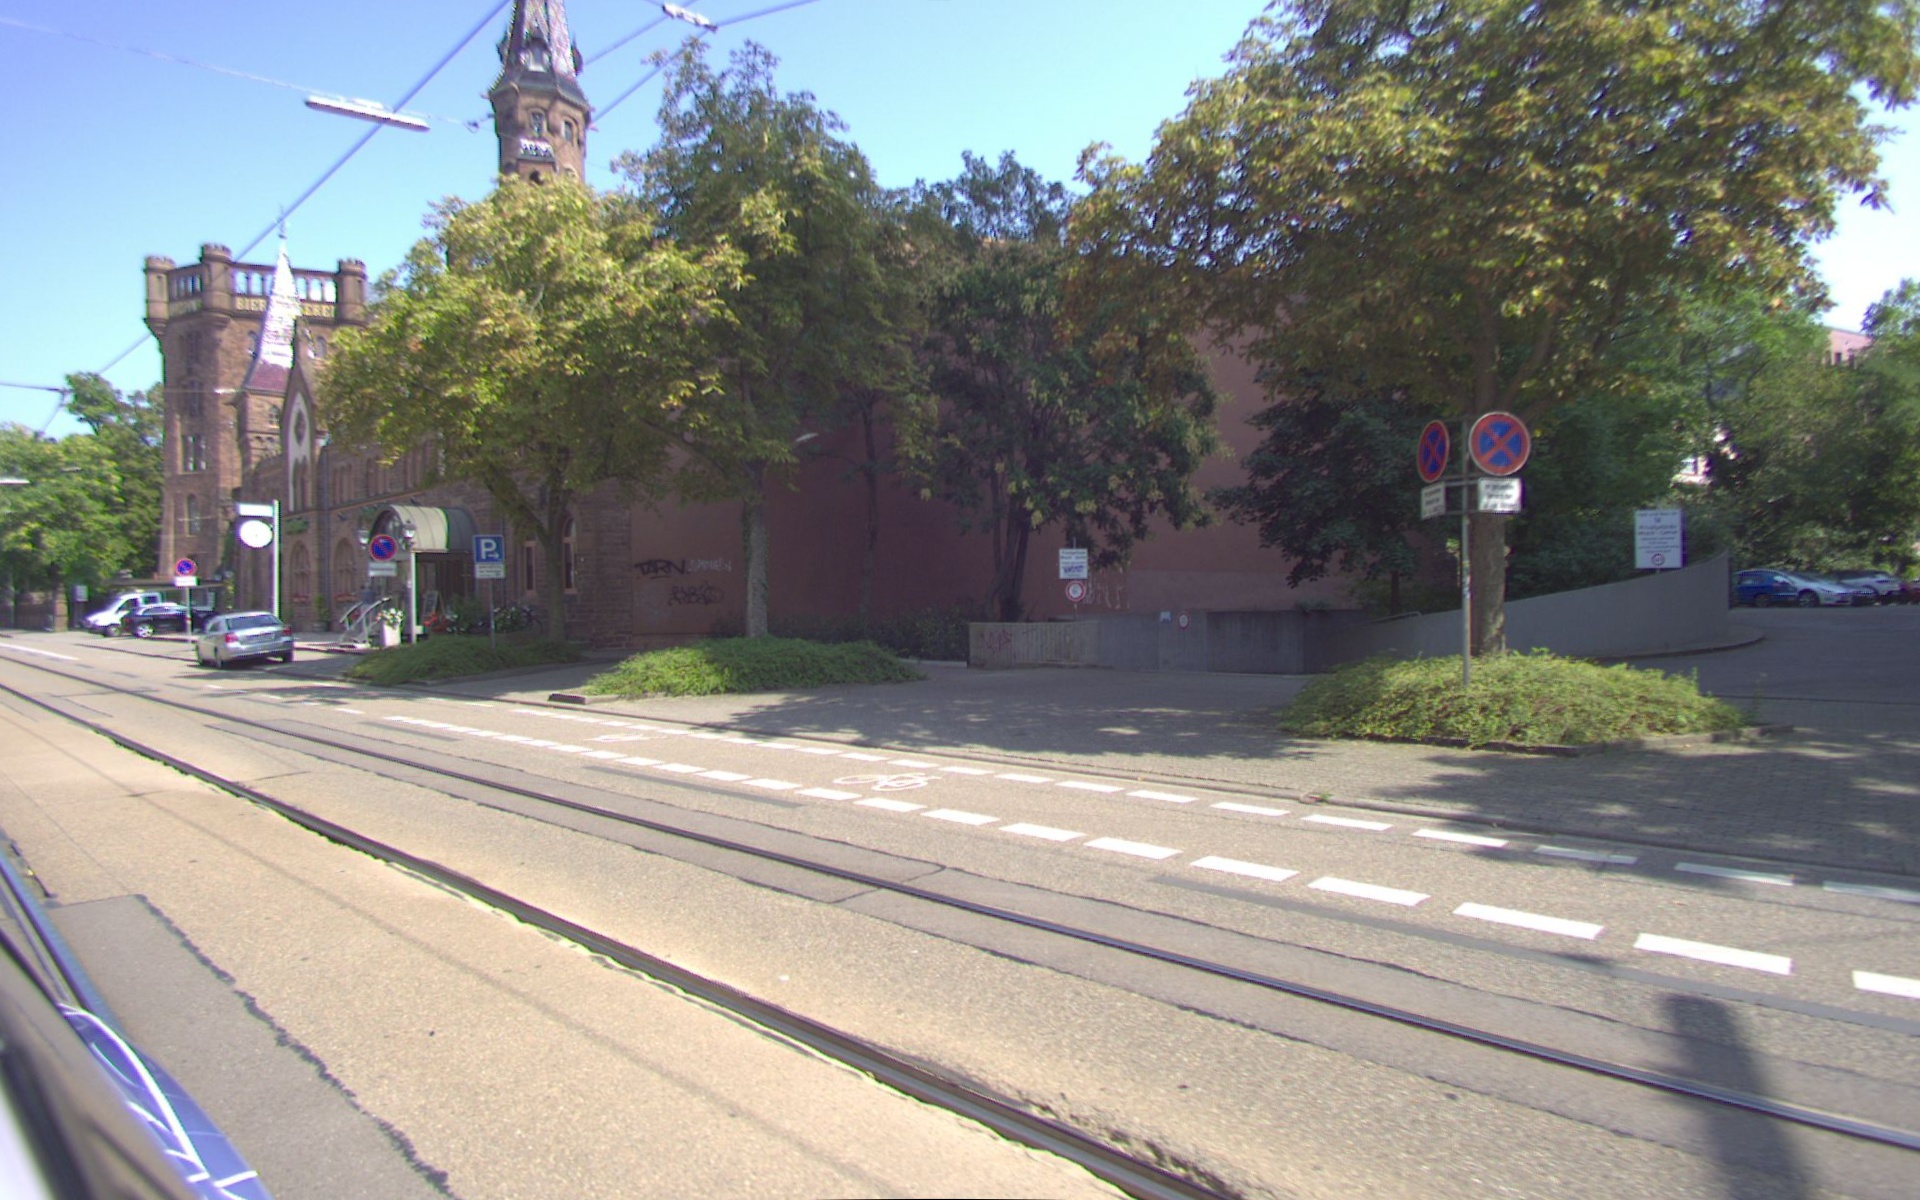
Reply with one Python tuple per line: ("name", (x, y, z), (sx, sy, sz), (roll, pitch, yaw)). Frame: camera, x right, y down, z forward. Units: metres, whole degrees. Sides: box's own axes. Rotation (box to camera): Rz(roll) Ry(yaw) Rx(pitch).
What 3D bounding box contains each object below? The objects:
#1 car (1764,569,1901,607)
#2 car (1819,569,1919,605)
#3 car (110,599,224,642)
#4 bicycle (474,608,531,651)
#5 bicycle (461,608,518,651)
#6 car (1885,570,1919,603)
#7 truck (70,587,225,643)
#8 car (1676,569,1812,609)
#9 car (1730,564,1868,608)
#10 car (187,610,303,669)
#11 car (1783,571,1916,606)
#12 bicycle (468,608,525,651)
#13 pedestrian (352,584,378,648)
("car", (36.278, -0.489, 42.150), (1.811, 1.497, 4.009), (-2, 0, -37))
("car", (40.782, -0.567, 44.722), (1.811, 1.497, 4.009), (-2, 0, -37))
("car", (-41.588, 1.027, 53.124), (2.001, 1.810, 4.350), (-1, 4, 44))
("bicycle", (-12.945, 0.826, 28.679), (0.376, 1.069, 1.434), (-1, 5, 32))
("bicycle", (-13.474, 0.834, 29.022), (0.376, 1.069, 1.434), (-1, 5, 32))
("car", (45.415, -0.650, 46.512), (1.811, 1.539, 4.009), (-2, 0, -37))
("truck", (-45.944, 0.779, 57.387), (2.317, 2.543, 6.427), (-1, 4, 42))
("car", (31.577, -0.435, 40.851), (1.811, 1.497, 4.009), (-2, 0, -37))
("car", (34.107, -0.542, 41.217), (1.811, 1.686, 4.009), (-2, 0, -37))
("car", (-20.369, 1.051, 28.751), (4.516, 1.513, 1.913), (-1, 0, 44))
("car", (38.388, -0.476, 43.752), (1.811, 1.392, 4.009), (-2, 0, -37))
("bicycle", (-13.194, 0.830, 28.844), (0.376, 1.069, 1.434), (-1, 5, 32))
("pedestrian", (-18.579, 0.494, 31.611), (0.497, 1.995, 0.520), (-1, 0, -4))
